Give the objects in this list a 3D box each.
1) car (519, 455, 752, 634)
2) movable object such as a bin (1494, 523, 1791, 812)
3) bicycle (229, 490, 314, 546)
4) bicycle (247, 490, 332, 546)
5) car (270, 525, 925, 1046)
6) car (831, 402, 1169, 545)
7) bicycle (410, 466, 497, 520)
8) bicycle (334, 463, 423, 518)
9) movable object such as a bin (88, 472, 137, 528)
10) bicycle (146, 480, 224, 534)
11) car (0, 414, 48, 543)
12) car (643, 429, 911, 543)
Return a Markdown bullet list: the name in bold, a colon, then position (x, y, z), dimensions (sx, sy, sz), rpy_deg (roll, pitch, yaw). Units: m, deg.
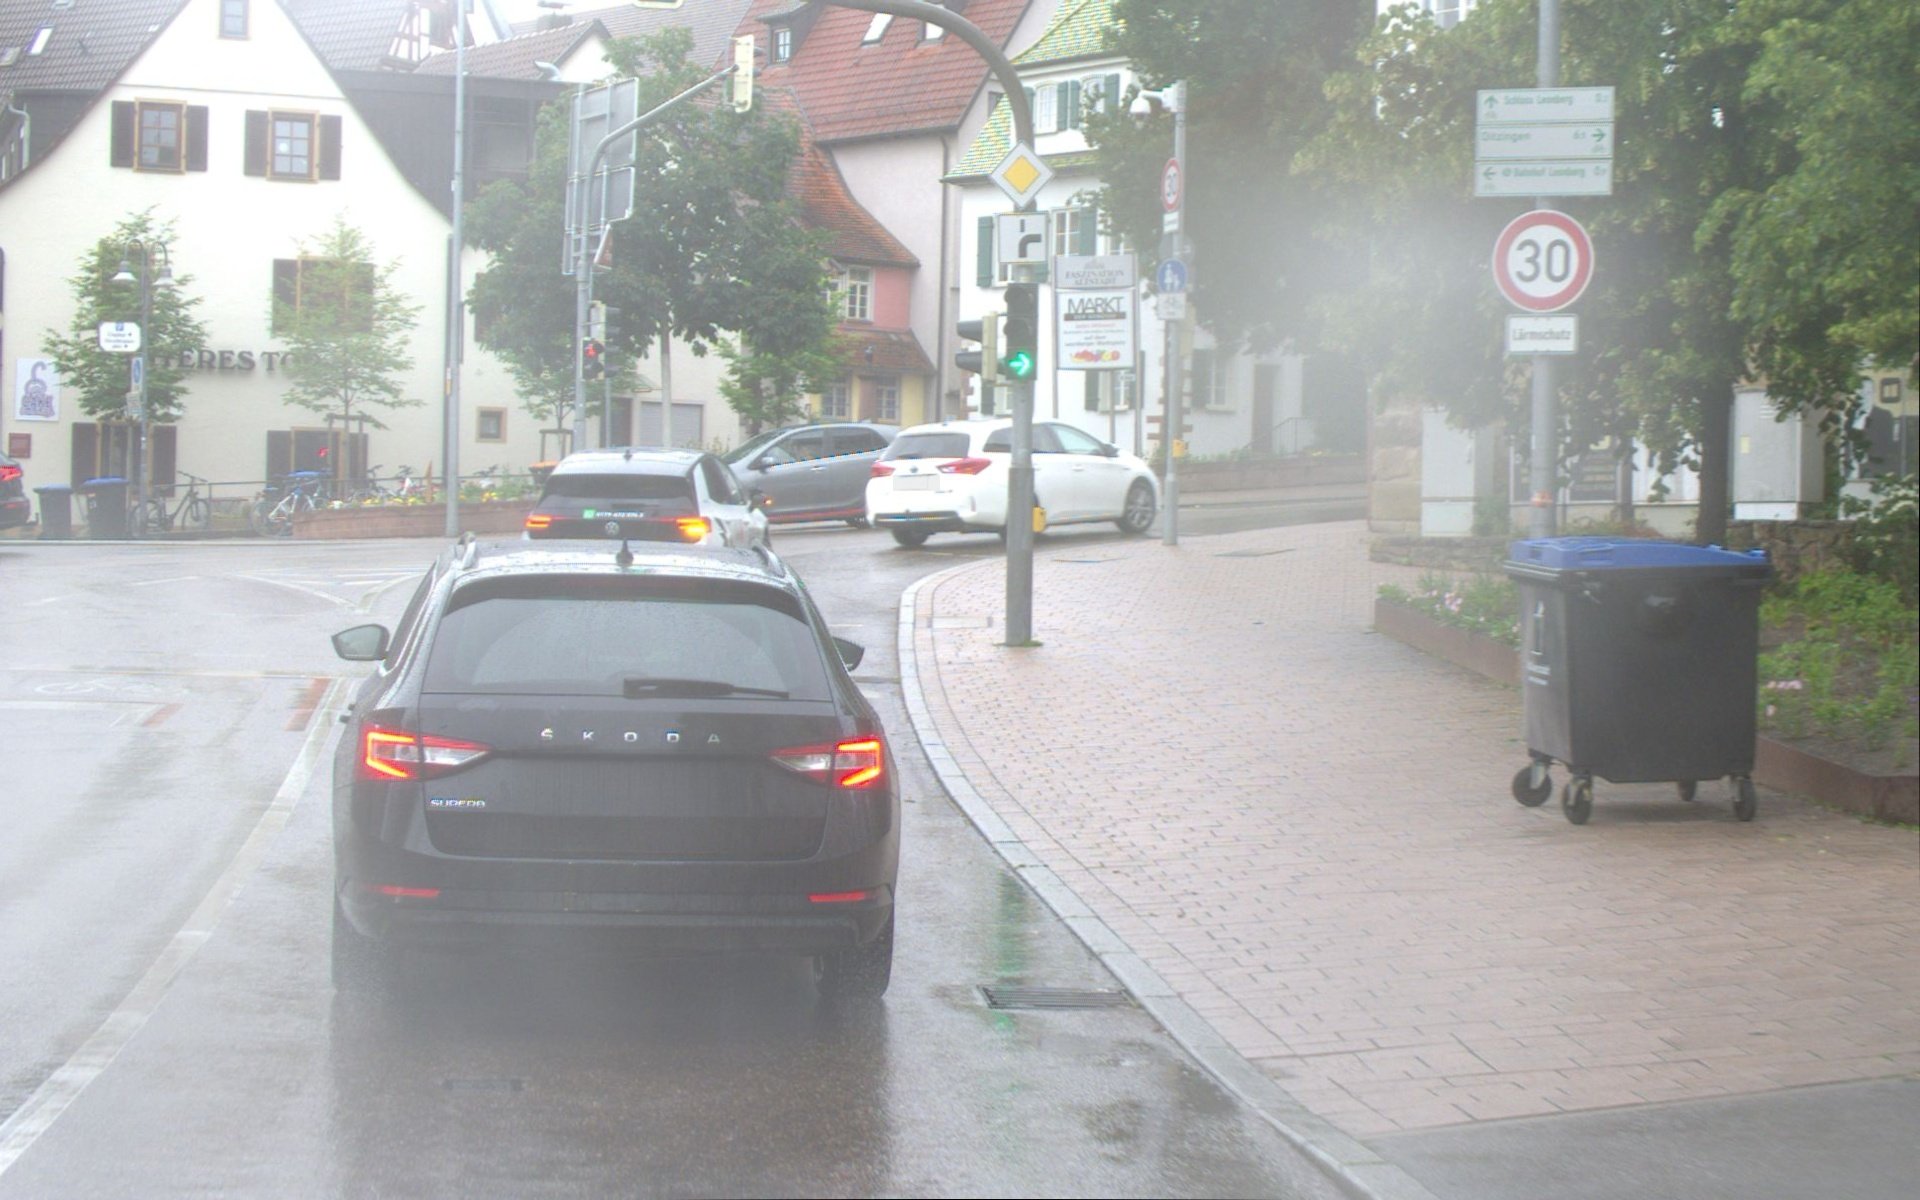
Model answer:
- **car**: position (-2.823, -0.531, 30.594), dimensions (1.856, 1.468, 4.001), rpy_deg (1, 2, -3)
- **movable object such as a bin**: position (3.223, 0.296, 16.363), dimensions (1.154, 1.308, 1.186), rpy_deg (1, 1, 0)
- **bicycle**: position (-11.421, -1.364, 57.066), dimensions (0.392, 0.909, 1.466), rpy_deg (2, 2, 39)
- **bicycle**: position (-11.070, -1.354, 56.758), dimensions (0.392, 0.909, 1.466), rpy_deg (2, 2, 39)
- **car**: position (-1.125, 0.495, 12.176), dimensions (1.886, 1.443, 4.358), rpy_deg (1, 2, -2)
- **car**: position (0.534, -1.474, 40.957), dimensions (1.889, 1.590, 4.317), rpy_deg (2, 1, 35)
- **bicycle**: position (-8.766, -1.849, 59.543), dimensions (1.465, 0.909, 0.392), rpy_deg (-1, 6, -39)
- **bicycle**: position (-9.891, -1.860, 58.499), dimensions (1.465, 0.909, 0.392), rpy_deg (-1, 6, -39)
- **movable object such as a bin**: position (-13.968, -1.651, 56.672), dimensions (0.586, 0.898, 0.584), rpy_deg (-1, 3, -37)
- **bicycle**: position (-12.585, -1.516, 55.878), dimensions (0.338, 0.815, 1.435), rpy_deg (5, 5, 30)
- **car**: position (-13.834, -1.502, 42.676), dimensions (4.732, 1.582, 1.831), rpy_deg (-1, 2, -19)
- **car**: position (-2.491, -1.541, 46.623), dimensions (3.378, 1.472, 1.536), rpy_deg (0, 2, -15)
